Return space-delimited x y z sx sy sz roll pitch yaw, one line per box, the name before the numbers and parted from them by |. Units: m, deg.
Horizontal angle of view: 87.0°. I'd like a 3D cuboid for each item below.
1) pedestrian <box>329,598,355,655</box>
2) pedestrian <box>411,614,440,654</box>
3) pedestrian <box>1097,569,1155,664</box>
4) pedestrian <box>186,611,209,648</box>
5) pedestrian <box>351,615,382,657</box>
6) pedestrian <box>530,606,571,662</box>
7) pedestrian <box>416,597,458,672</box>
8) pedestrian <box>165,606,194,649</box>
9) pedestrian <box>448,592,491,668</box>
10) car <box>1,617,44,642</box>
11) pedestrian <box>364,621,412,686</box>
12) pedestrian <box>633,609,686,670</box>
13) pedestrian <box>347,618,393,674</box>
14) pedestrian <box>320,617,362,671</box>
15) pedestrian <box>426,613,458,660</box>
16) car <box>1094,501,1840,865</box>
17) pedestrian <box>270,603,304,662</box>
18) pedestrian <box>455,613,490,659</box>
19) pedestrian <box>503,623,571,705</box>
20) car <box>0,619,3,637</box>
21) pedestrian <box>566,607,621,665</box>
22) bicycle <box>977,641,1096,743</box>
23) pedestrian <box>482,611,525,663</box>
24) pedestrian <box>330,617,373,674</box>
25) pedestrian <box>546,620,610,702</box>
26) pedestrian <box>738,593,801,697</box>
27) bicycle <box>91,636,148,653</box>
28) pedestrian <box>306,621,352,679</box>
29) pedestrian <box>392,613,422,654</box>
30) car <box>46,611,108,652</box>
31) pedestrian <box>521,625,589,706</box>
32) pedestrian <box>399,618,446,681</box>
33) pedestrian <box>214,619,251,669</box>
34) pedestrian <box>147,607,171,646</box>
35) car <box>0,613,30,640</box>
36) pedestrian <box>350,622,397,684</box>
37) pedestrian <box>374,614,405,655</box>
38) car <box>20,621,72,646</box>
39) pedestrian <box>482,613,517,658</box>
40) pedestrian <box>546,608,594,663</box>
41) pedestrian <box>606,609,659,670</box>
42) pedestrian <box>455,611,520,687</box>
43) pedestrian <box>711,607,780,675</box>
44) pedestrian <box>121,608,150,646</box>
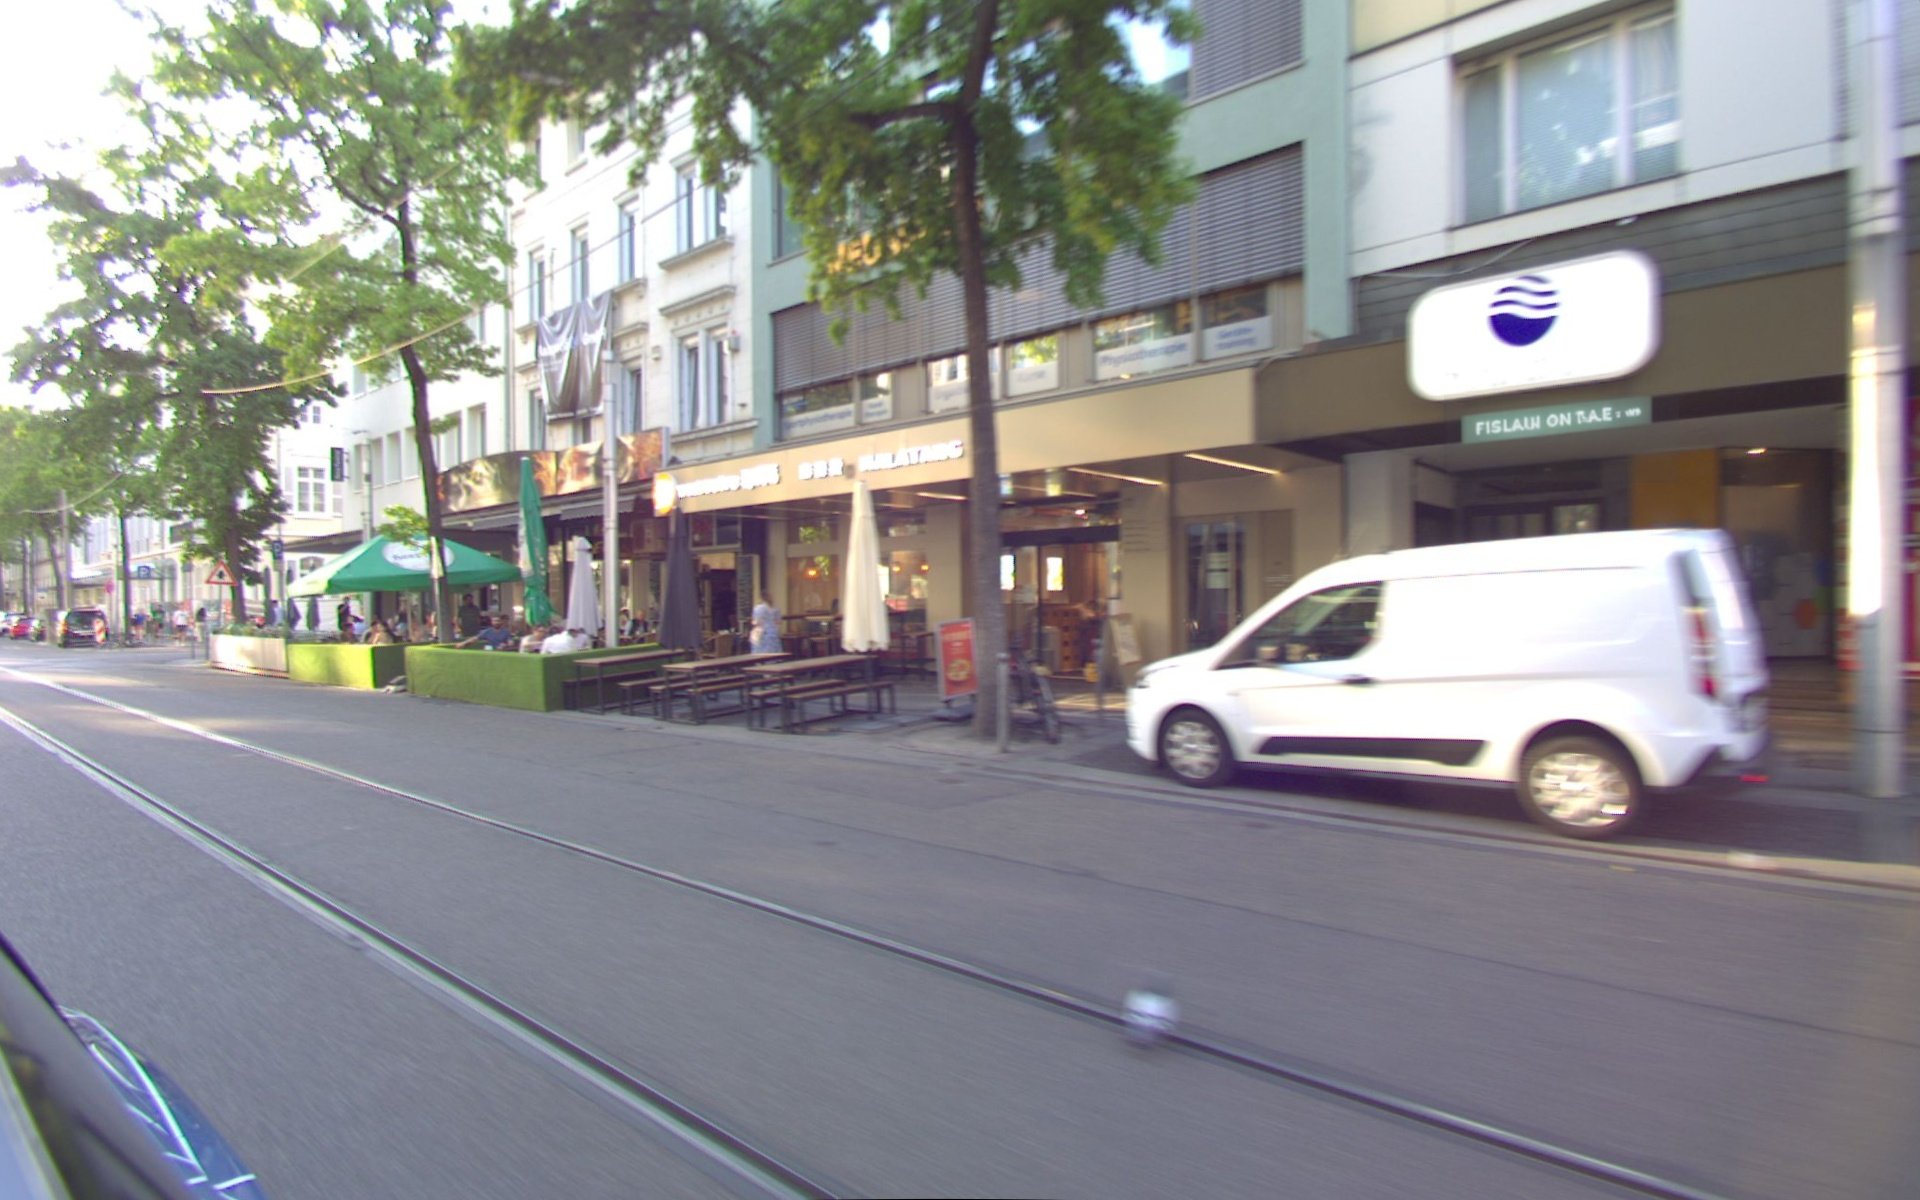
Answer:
pedestrian | -20.561 0.862 33.671 0.675 1.829 0.766 -3 1 -33
pedestrian | -16.255 1.028 30.794 0.687 1.170 0.546 -1 1 42
pedestrian | 3.010 0.284 18.337 0.734 1.663 0.690 -1 2 44
pedestrian | -34.782 1.331 46.155 0.967 1.669 0.699 -2 -2 43
pedestrian | -18.994 1.135 32.377 0.727 1.291 0.620 -1 1 42
pedestrian | -10.043 0.832 24.810 0.696 1.319 0.612 -1 2 41
pedestrian | -12.231 0.797 23.681 0.696 1.683 0.612 -1 1 41
pedestrian | -33.902 1.193 43.955 0.984 1.805 0.766 -1 2 43
pedestrian | -11.796 0.704 24.361 0.697 1.770 0.670 -1 1 43
car | -59.348 1.852 64.059 4.140 1.416 1.642 -1 2 43
pedestrian | -11.763 1.083 20.808 0.696 1.254 0.612 -1 2 41
pedestrian | -6.226 0.809 20.977 0.787 1.176 0.693 -1 2 41
pedestrian | -14.076 1.081 24.148 0.869 1.269 0.700 -1 1 44
pedestrian | -15.687 1.105 25.655 0.807 1.321 0.682 -1 1 43
pedestrian | -14.983 1.057 29.273 0.687 1.308 0.596 -1 1 42
car | 3.395 0.419 7.426 4.553 1.878 1.776 -1 2 43
pedestrian | -21.027 1.002 31.614 0.747 1.805 0.688 -3 1 -41
pedestrian | -12.939 0.956 26.859 0.687 1.182 0.595 -1 1 42
pedestrian | -6.982 1.038 16.703 0.872 1.253 0.650 -1 2 41
car | -80.014 2.340 82.987 4.616 1.477 1.872 -1 2 43
pedestrian | -8.413 0.804 23.204 0.944 1.246 0.769 -1 2 41
bicycle | 0.787 0.956 11.028 0.823 0.871 1.864 -3 1 -10
pedestrian | -11.421 0.920 25.314 0.798 1.251 0.662 -1 1 41
pedestrian | -15.059 1.118 25.043 0.781 1.357 0.700 -1 1 44
pedestrian | -6.472 1.014 17.133 0.797 1.302 0.650 -1 2 41
pedestrian | -3.040 0.696 16.156 0.700 1.586 0.640 -1 2 42
bicycle | -36.179 1.908 43.566 1.283 0.613 1.775 -1 1 45
pedestrian | -14.683 1.145 23.542 0.772 1.269 0.700 -1 1 44
pedestrian | -16.686 1.004 30.532 0.687 1.170 0.546 -1 1 42
car | -42.784 1.494 49.000 4.559 1.846 1.837 -1 0 44
pedestrian | -6.473 1.033 16.178 0.797 1.202 0.650 -1 2 41
pedestrian | -11.365 1.029 21.390 0.696 1.254 0.612 -1 2 41
pedestrian | -21.061 1.268 29.306 0.807 1.397 0.682 -1 1 43
pedestrian | -39.035 1.273 49.315 0.876 1.826 0.712 -1 2 41
car | -66.604 1.853 70.570 4.945 1.701 1.848 -1 2 39
pedestrian | -12.477 1.107 21.523 0.696 1.254 0.612 -1 2 41
pedestrian | -18.503 1.111 32.815 0.738 1.279 0.638 -1 1 42
car | -52.638 1.911 58.280 4.506 1.254 1.700 -1 2 42
pedestrian | -12.442 0.960 27.344 0.687 1.167 0.595 -1 1 42
pedestrian | -9.289 0.828 24.121 0.787 1.241 0.729 -1 2 41
pedestrian | -6.998 0.830 21.621 0.787 1.222 0.729 -1 2 41
pedestrian | -8.886 0.902 19.026 0.872 1.353 0.746 -1 2 41
pedestrian | -4.103 0.770 19.315 1.064 1.197 0.745 -1 2 41
pedestrian | -39.695 1.290 48.724 0.884 1.795 0.856 -1 2 41
